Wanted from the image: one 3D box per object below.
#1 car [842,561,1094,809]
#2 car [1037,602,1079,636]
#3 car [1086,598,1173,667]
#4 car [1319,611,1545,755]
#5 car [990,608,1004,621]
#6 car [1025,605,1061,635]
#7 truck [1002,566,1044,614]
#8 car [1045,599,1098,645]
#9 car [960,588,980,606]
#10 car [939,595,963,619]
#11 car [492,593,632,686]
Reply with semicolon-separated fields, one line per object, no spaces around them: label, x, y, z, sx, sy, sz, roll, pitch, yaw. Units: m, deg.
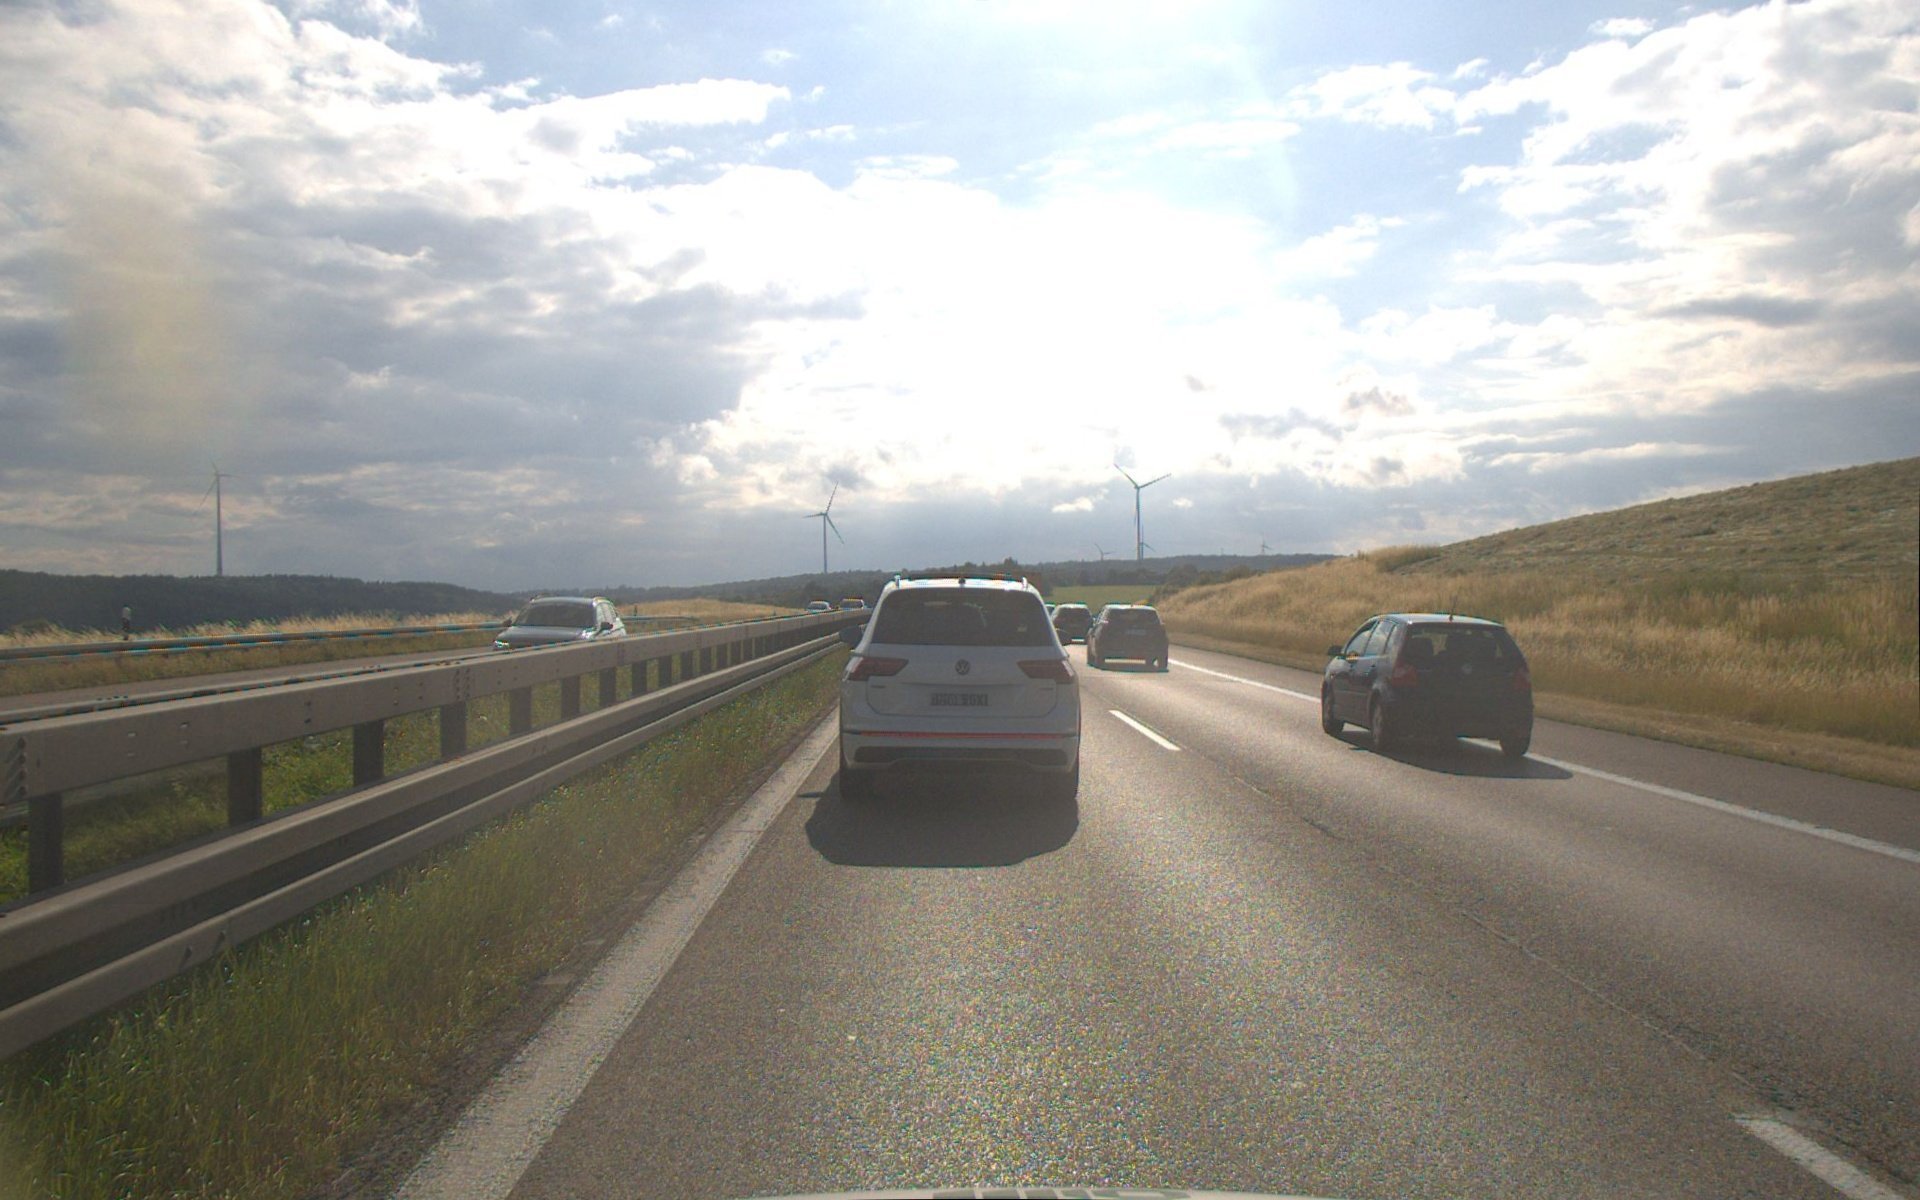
car;0.032;0.607;13.495;1.734;1.705;3.999;1;0;-1
car;4.646;0.902;78.900;1.669;1.573;3.999;1;0;-1
car;4.082;0.763;40.377;1.669;1.573;3.999;1;0;-1
car;5.194;0.853;18.645;1.572;1.445;3.673;1;0;1
car;4.502;1.767;201.756;1.669;1.573;4.000;1;0;1
car;4.455;1.073;89.087;1.669;1.573;3.999;1;0;-1
truck;5.024;-0.765;133.145;3.118;3.656;11.132;1;0;1
car;4.242;0.824;63.319;1.669;1.679;3.999;1;0;-1
car;0.871;-0.235;147.404;1.669;1.573;3.999;1;0;-1
car;-0.639;0.506;117.247;1.669;1.679;3.999;1;0;-1
car;-7.466;0.713;31.396;1.714;1.631;4.264;1;0;-2
